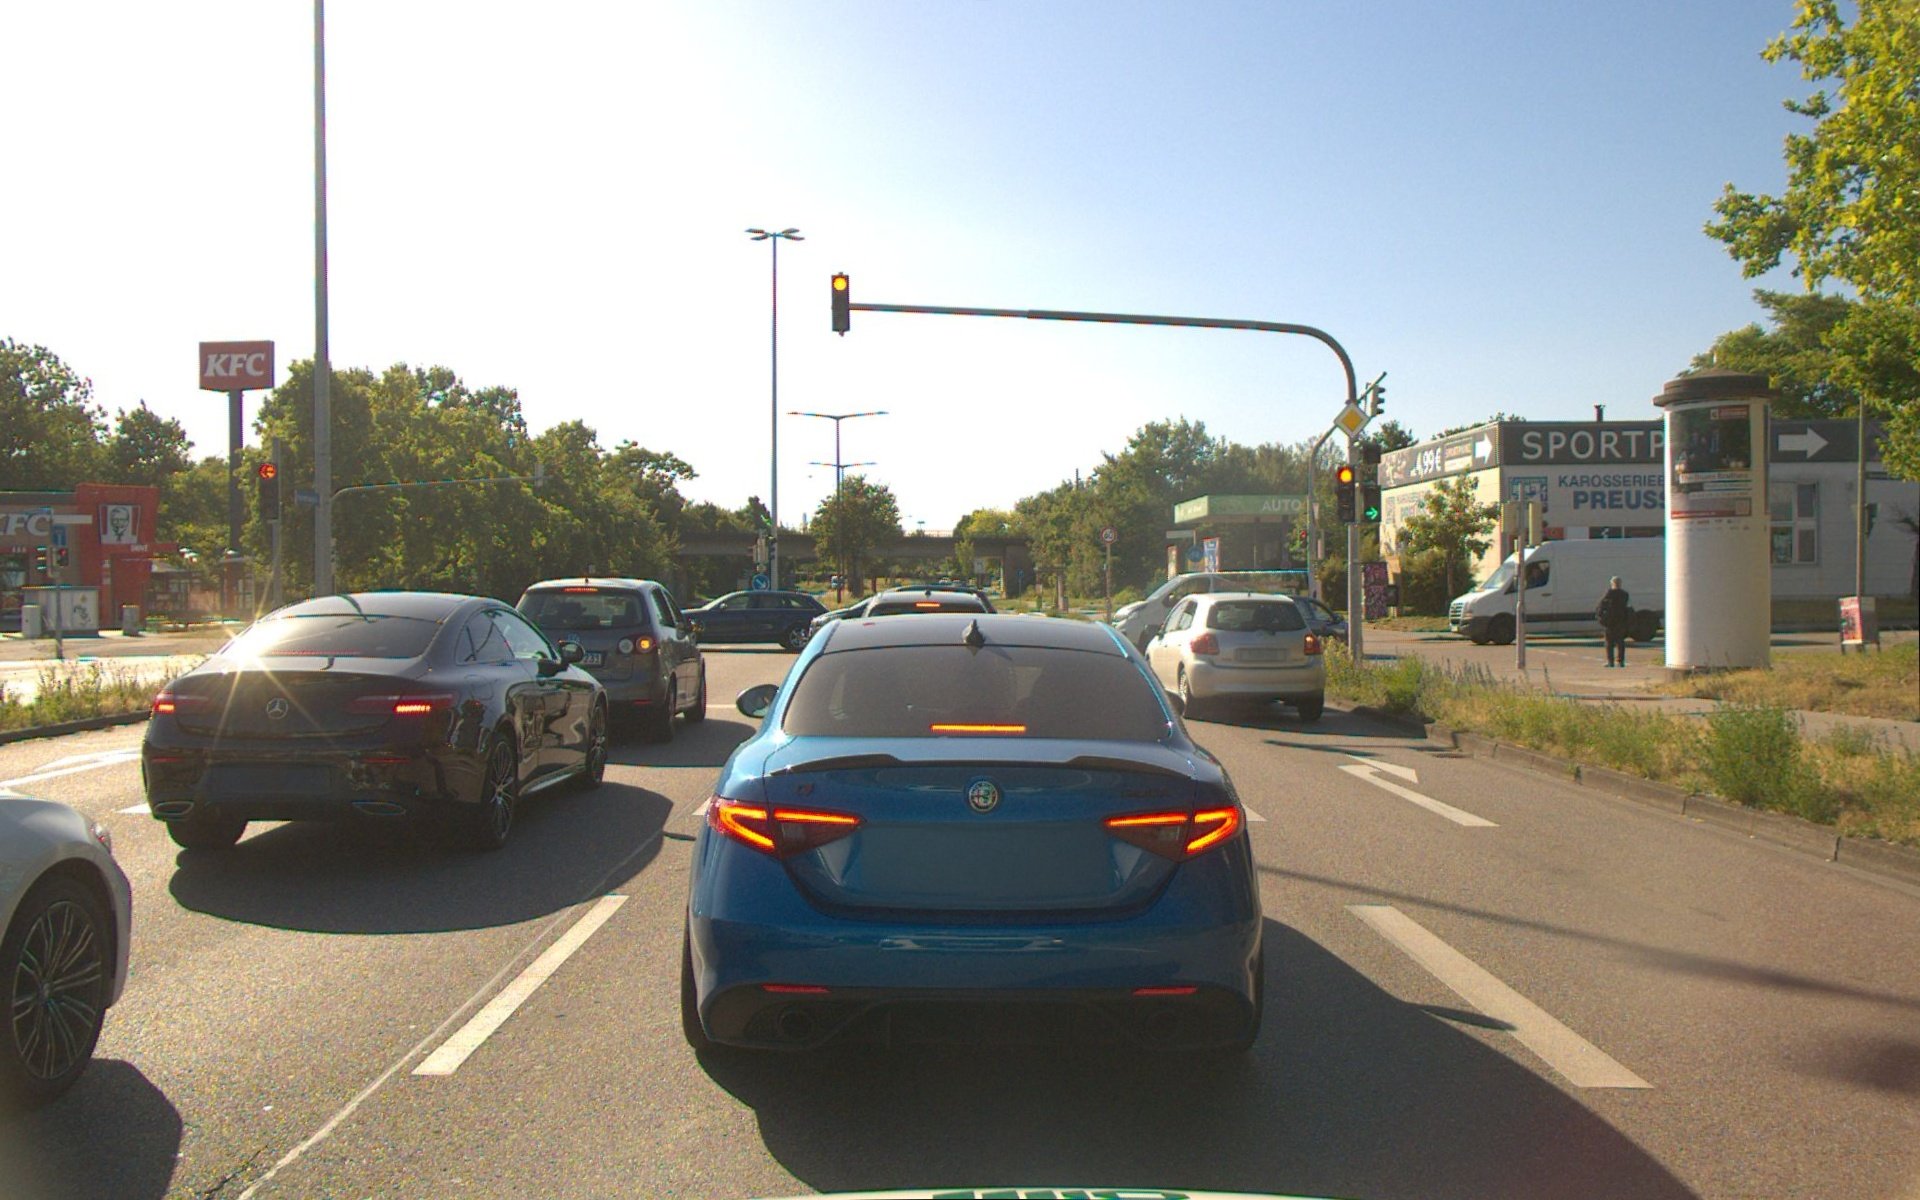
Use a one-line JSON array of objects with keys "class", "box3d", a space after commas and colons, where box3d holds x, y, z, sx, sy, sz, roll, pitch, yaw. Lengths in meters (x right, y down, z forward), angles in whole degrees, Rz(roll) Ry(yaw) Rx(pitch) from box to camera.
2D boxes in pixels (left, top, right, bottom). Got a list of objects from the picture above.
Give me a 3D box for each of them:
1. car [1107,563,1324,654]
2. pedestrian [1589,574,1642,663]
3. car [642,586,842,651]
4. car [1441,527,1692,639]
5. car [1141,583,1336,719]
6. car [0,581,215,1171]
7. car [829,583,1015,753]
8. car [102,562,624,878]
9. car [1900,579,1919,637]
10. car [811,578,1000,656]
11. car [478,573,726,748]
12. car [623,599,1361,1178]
[{"class": "car", "box3d": [6.057, 0.205, 39.549, 4.854, 2.071, 1.880, -1, 0, -2]}, {"class": "pedestrian", "box3d": [12.666, 0.360, 31.955, 0.800, 1.698, 0.514, 1, -1, -1]}, {"class": "car", "box3d": [-5.384, 0.464, 40.769, 4.736, 1.493, 1.753, 1, 0, -13]}, {"class": "car", "box3d": [15.647, -0.421, 42.874, 5.715, 2.719, 2.000, -1, -1, 0]}, {"class": "car", "box3d": [3.498, 0.584, 21.494, 1.747, 1.564, 4.107, 1, 0, -1]}, {"class": "car", "box3d": [-3.341, 0.710, 3.151, 1.775, 1.512, 4.596, 0, 0, 0]}, {"class": "car", "box3d": [-0.321, 0.631, 16.936, 1.669, 1.523, 3.719, 1, 0, 1]}, {"class": "car", "box3d": [-3.457, 0.595, 10.583, 1.775, 1.578, 4.542, 1, 0, -1]}, {"class": "car", "box3d": [27.552, 0.249, 44.129, 3.905, 1.534, 1.878, 1, 0, -1]}, {"class": "car", "box3d": [-1.228, 0.380, 37.978, 4.219, 1.678, 1.637, 1, 0, -2]}, {"class": "car", "box3d": [-3.590, 0.565, 17.349, 1.776, 1.578, 4.351, 1, 0, -2]}, {"class": "car", "box3d": [0.112, 0.747, 6.102, 1.870, 1.447, 3.719, 1, 0, 1]}]
